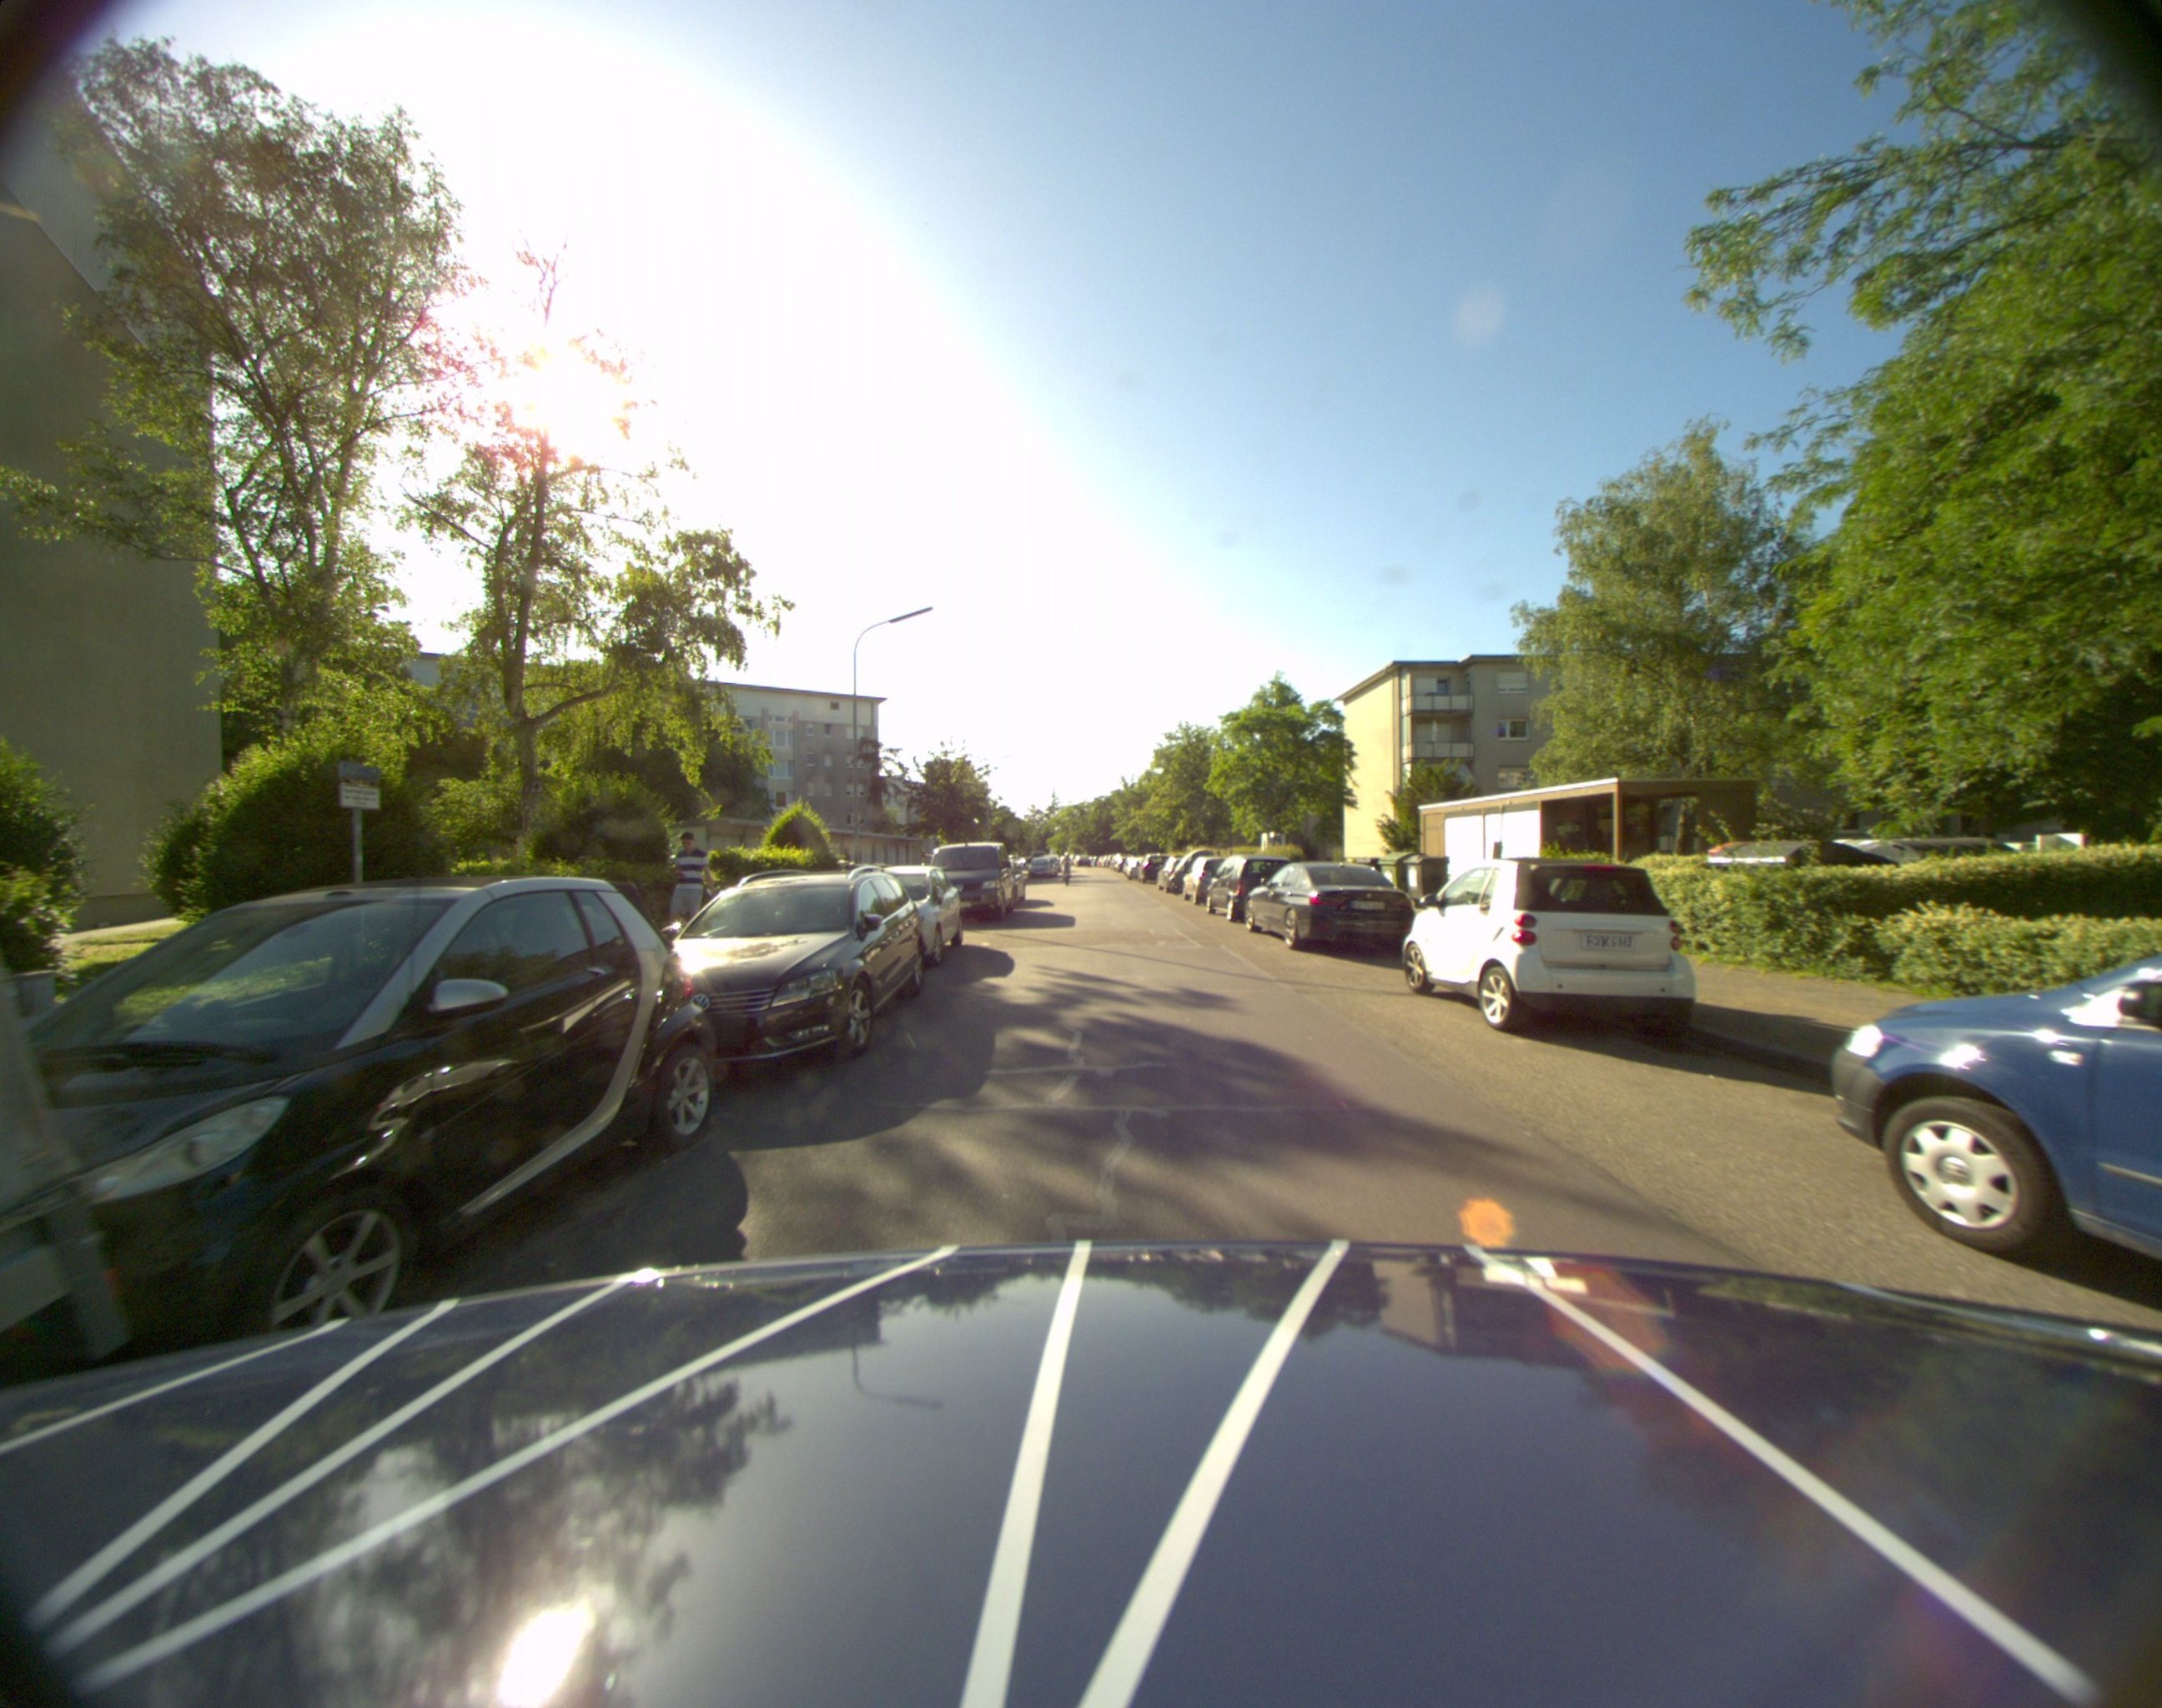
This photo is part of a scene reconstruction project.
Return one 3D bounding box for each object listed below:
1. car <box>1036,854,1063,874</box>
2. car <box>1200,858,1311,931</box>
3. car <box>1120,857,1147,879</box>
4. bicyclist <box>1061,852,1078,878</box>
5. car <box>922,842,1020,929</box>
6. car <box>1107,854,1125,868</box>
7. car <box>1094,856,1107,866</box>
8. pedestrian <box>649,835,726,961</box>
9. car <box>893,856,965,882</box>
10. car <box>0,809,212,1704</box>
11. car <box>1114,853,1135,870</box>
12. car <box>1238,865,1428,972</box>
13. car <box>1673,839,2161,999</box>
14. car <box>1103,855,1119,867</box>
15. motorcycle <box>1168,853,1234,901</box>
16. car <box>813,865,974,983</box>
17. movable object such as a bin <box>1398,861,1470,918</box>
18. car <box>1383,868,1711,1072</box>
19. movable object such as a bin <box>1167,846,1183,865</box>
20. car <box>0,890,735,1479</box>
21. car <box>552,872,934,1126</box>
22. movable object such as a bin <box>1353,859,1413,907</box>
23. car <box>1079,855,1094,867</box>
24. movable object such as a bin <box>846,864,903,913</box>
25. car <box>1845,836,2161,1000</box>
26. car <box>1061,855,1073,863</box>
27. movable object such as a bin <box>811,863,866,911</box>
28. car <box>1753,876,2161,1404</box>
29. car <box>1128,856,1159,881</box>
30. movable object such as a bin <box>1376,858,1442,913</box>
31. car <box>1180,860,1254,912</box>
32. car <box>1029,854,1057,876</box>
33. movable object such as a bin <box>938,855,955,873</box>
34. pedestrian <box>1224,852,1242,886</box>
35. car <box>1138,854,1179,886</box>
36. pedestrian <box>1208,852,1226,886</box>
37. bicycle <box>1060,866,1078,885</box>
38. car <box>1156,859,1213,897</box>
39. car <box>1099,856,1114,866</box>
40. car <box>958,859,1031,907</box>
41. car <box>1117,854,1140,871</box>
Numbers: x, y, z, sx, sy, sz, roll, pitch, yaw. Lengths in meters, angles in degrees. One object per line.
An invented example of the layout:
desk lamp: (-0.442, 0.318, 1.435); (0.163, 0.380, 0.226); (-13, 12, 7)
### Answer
car: (-2.470, 0.759, 60.622); (1.835, 1.537, 4.641); (-1, 0, 1)
car: (4.189, 0.917, 18.795); (1.759, 1.565, 3.719); (1, 0, -1)
car: (3.772, 1.001, 55.079); (1.758, 1.481, 4.901); (2, 0, 2)
bicyclist: (-0.610, 0.559, 39.221); (0.812, 1.348, 1.091); (-1, 0, 1)
car: (-2.719, 0.720, 19.789); (1.857, 1.923, 4.704); (-2, 0, -1)
car: (4.255, 0.845, 93.062); (1.811, 1.596, 4.431); (1, 0, -2)
car: (2.891, 1.009, 112.248); (1.658, 1.470, 3.104); (1, 0, -5)
pedestrian: (-6.096, 0.662, 11.816); (0.705, 1.877, 0.872); (2, 1, 1)
car: (-9.573, 0.941, 47.955); (4.194, 1.486, 1.817); (-1, 0, -3)
car: (-2.829, 0.795, 0.491); (1.492, 1.708, 2.583); (-2, 0, 0)
car: (4.289, 0.722, 75.861); (1.759, 1.658, 4.389); (1, 0, -1)
car: (4.204, 0.987, 13.524); (1.759, 1.472, 4.536); (1, 0, -1)
car: (9.727, 0.631, 9.407); (1.574, 1.516, 3.999); (-2, 0, -2)
car: (3.926, 0.902, 99.697); (1.811, 1.470, 3.939); (1, 0, -3)
motorcycle: (4.506, 0.862, 28.701); (2.262, 1.717, 0.932); (2, 1, -3)
car: (-2.841, 0.987, 12.404); (1.627, 1.481, 4.035); (-2, 0, -1)
movable object such as a bin: (8.762, 0.863, 18.941); (1.180, 1.332, 1.343); (-1, 0, 1)
car: (4.401, 0.969, 7.739); (1.448, 1.565, 3.142); (1, 0, 2)
movable object such as a bin: (7.600, 0.123, 61.280); (1.004, 1.407, 1.326); (-4, 1, -2)
car: (-2.949, 1.008, 3.431); (1.418, 1.514, 2.558); (-2, 0, 4)
car: (-2.651, 1.007, 7.262); (1.736, 1.481, 4.500); (-2, 0, -2)
movable object such as a bin: (8.594, 0.813, 21.679); (1.180, 1.280, 1.343); (-1, 0, 1)
car: (0.737, 0.912, 98.910); (1.915, 1.468, 4.570); (0, 0, 0)
movable object such as a bin: (-5.865, 0.966, 21.706); (1.028, 1.302, 1.388); (3, 1, 10)
car: (11.590, 0.632, 8.691); (1.574, 1.631, 3.999); (-2, 0, -2)
car: (-2.779, 0.999, 148.216); (1.659, 1.558, 3.686); (1, 0, -11)
movable object such as a bin: (-7.248, 0.976, 22.790); (1.226, 1.357, 1.133); (-1, 0, 3)
car: (4.246, 0.930, 1.814); (1.758, 1.597, 3.968); (1, 0, 1)
car: (3.980, 0.915, 48.992); (1.758, 1.416, 4.210); (1, 1, 2)
movable object such as a bin: (8.743, 0.819, 20.318); (1.180, 1.400, 1.343); (-1, 0, 1)
car: (4.302, 0.986, 24.634); (1.758, 1.472, 3.959); (1, 0, 2)
car: (-2.762, 0.794, 55.760); (1.809, 1.486, 3.795); (-1, 0, 1)
movable object such as a bin: (-11.833, 0.874, 66.954); (1.326, 1.472, 1.029); (-1, 0, -6)
pedestrian: (7.512, 0.739, 37.523); (0.722, 1.669, 0.600); (-1, 1, 0)
car: (4.263, 0.833, 42.361); (1.759, 1.626, 4.370); (1, 0, 0)
pedestrian: (6.714, 0.740, 37.513); (0.722, 1.669, 0.616); (-1, 1, 0)
bicycle: (-0.600, 1.120, 39.320); (0.824, 0.896, 2.203); (-1, 0, 1)
car: (4.256, 0.971, 31.833); (1.759, 1.412, 4.269); (1, 0, 0)
car: (3.479, 0.955, 105.113); (1.636, 1.470, 3.878); (1, 0, -5)
car: (-2.835, 0.911, 25.971); (1.805, 1.410, 4.636); (-2, 0, 2)
car: (4.312, 0.759, 70.139); (1.759, 1.377, 4.673); (1, 1, -1)
